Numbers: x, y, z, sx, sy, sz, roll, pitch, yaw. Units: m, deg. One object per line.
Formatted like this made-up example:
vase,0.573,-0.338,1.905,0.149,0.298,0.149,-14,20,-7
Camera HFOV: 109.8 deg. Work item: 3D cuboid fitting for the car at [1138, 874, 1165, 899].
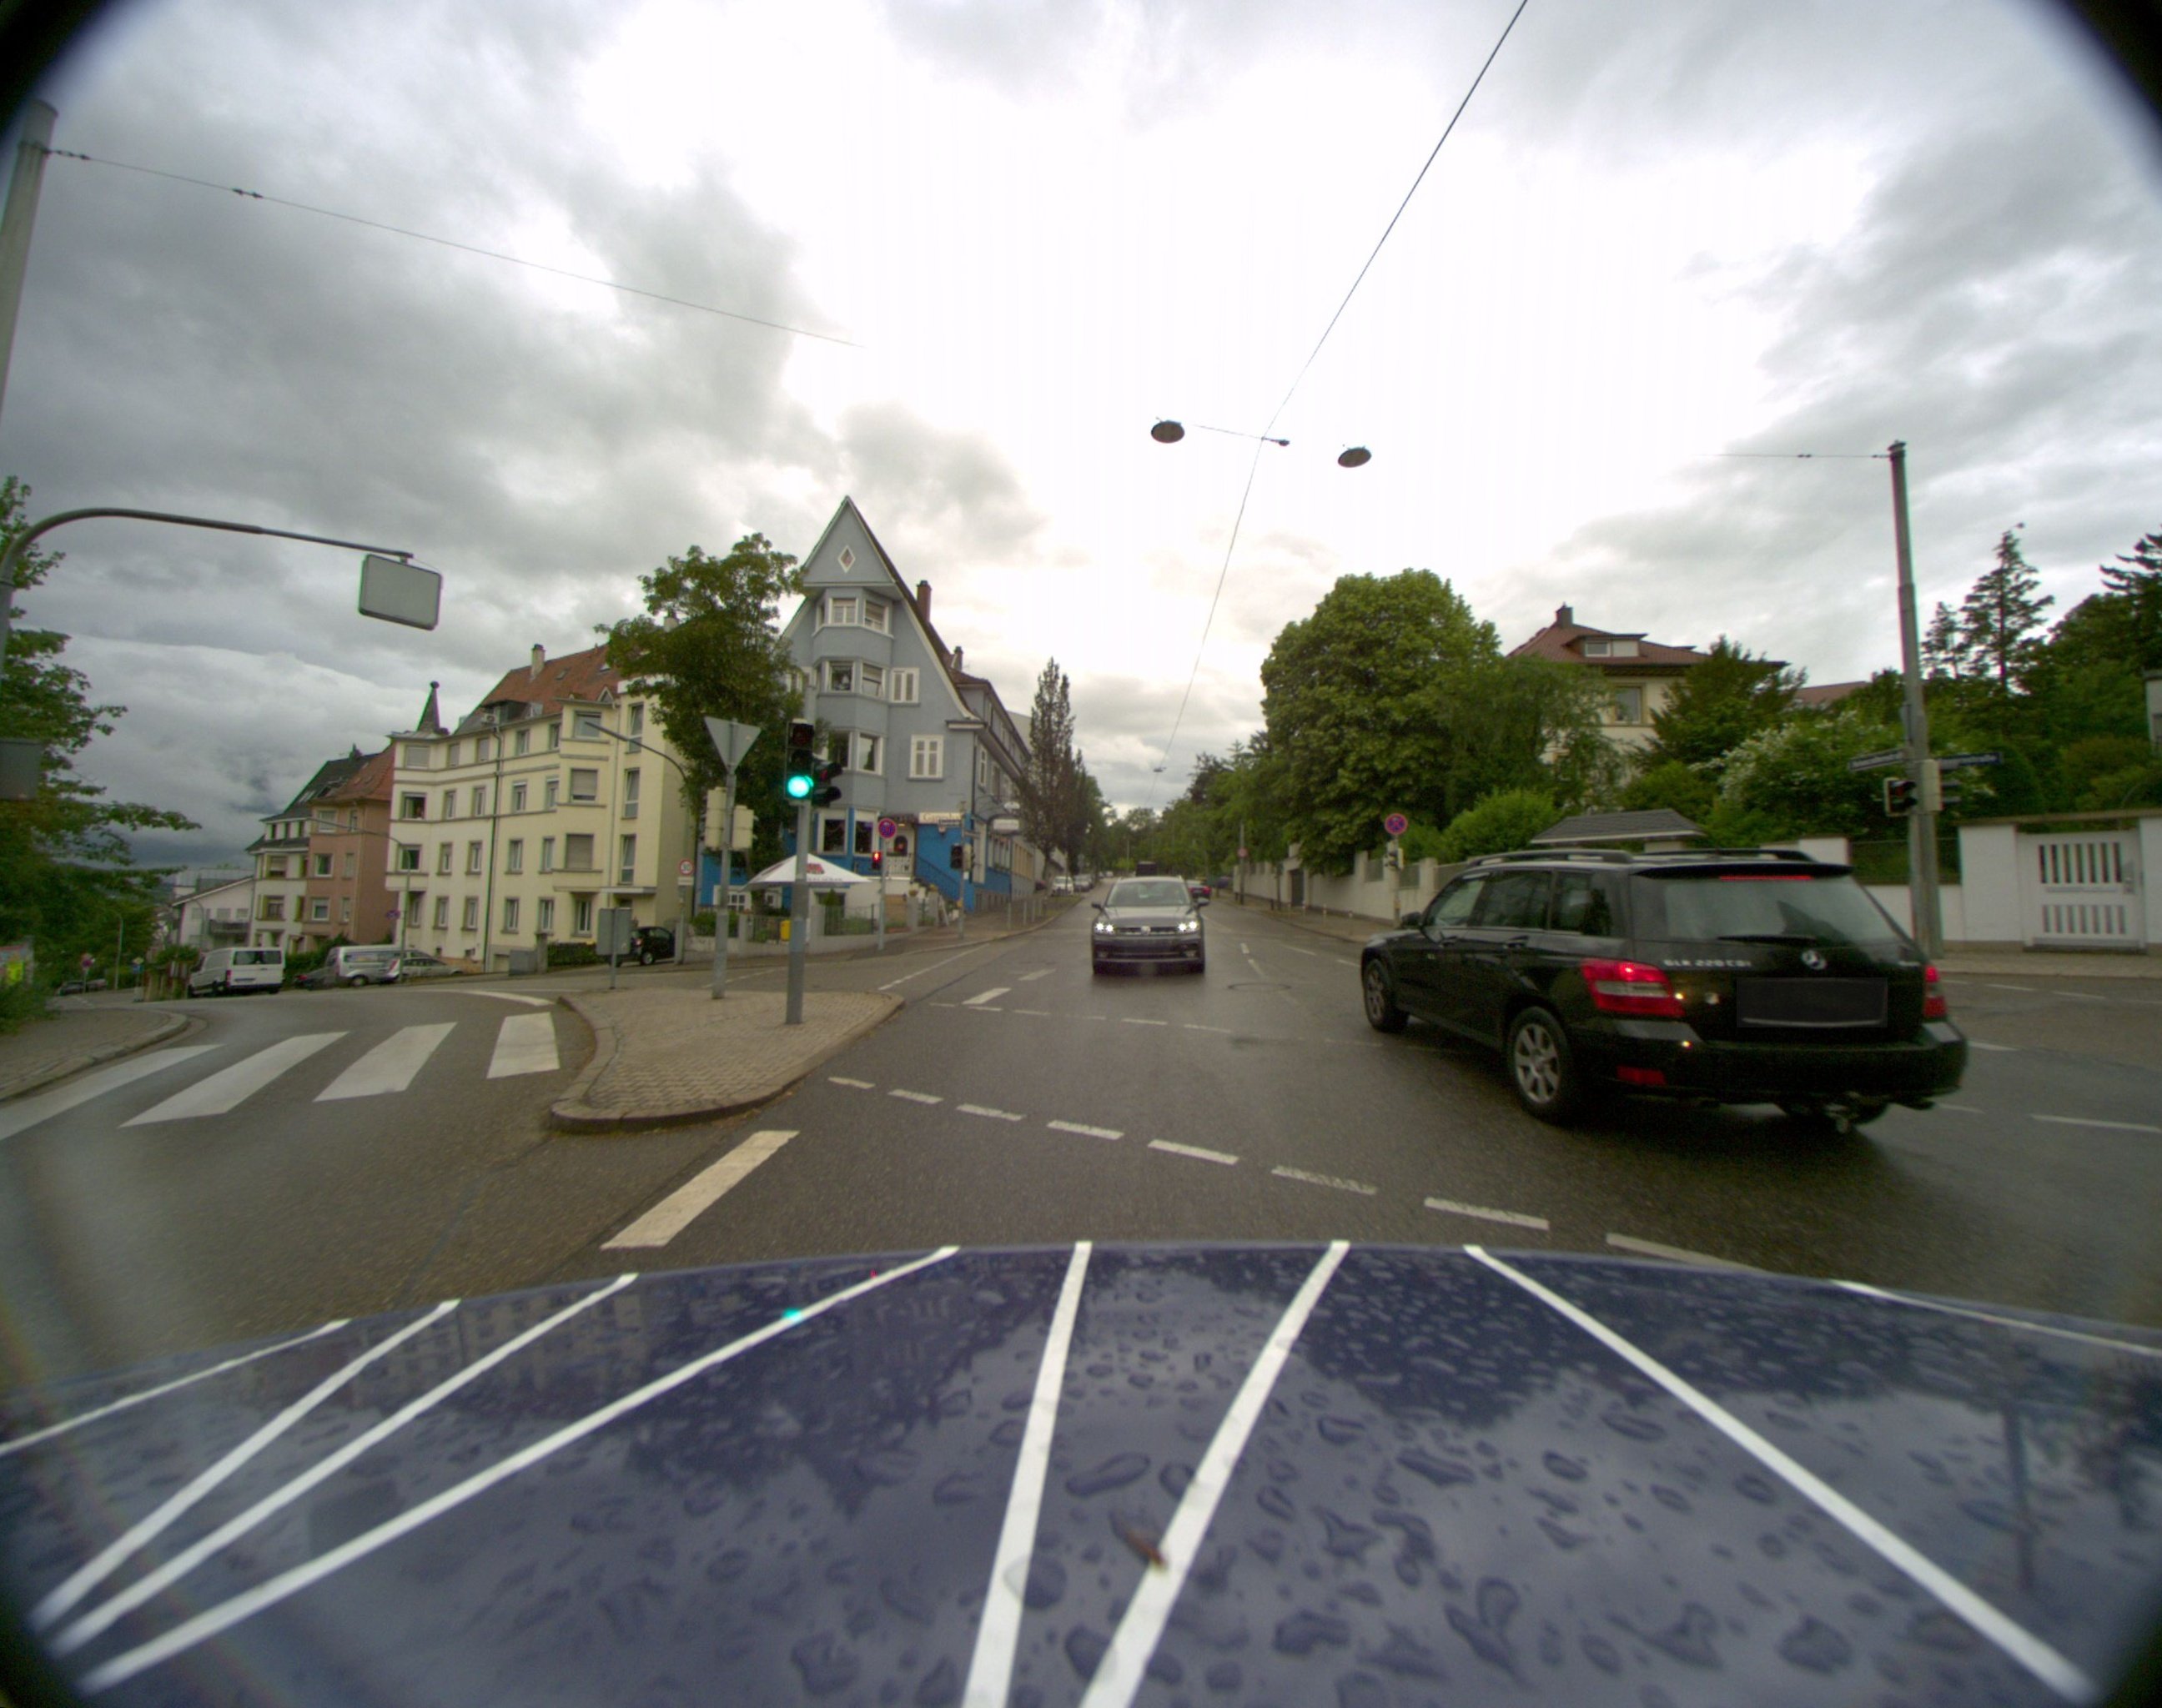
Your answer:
car,4.945,2.299,53.825,1.736,1.610,3.476,-1,0,3

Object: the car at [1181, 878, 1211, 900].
car,8.215,2.474,53.974,1.856,1.477,5.373,1,-2,11

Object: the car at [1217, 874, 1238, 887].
car,17.430,3.125,90.572,1.855,1.482,3.867,-1,-1,2

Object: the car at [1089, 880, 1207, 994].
car,1.232,1.353,13.850,1.785,1.631,4.202,1,-1,5

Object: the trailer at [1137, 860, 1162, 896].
trailer,5.122,1.784,57.050,1.770,2.610,3.033,-1,0,3

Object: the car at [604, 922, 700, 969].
car,-17.353,3.678,30.884,1.637,1.488,3.146,-5,-2,13

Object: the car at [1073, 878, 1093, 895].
car,0.223,3.003,71.193,1.819,1.451,4.742,1,-1,1

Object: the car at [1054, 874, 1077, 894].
car,-1.147,2.217,57.383,1.590,1.403,3.457,2,-1,-1

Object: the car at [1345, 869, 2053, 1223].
car,3.624,0.952,5.717,1.826,1.642,4.347,0,-1,1

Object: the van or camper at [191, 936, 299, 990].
van or camper,-40.113,5.240,36.451,5.405,2.310,2.116,-6,-7,28

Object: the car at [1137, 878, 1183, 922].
car,3.321,1.903,32.536,1.785,1.631,4.201,1,-1,4

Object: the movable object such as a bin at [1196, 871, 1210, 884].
movable object such as a bin,13.239,2.529,82.424,1.226,1.342,1.123,1,0,-5

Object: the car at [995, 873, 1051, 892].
car,-4.763,2.309,62.459,4.369,1.399,1.807,-1,0,-12

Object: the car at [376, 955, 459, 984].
car,-36.042,6.246,41.335,1.303,1.394,3.062,-6,-7,25

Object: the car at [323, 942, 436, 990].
car,-38.834,6.163,42.172,1.938,2.217,4.186,-10,-9,30
